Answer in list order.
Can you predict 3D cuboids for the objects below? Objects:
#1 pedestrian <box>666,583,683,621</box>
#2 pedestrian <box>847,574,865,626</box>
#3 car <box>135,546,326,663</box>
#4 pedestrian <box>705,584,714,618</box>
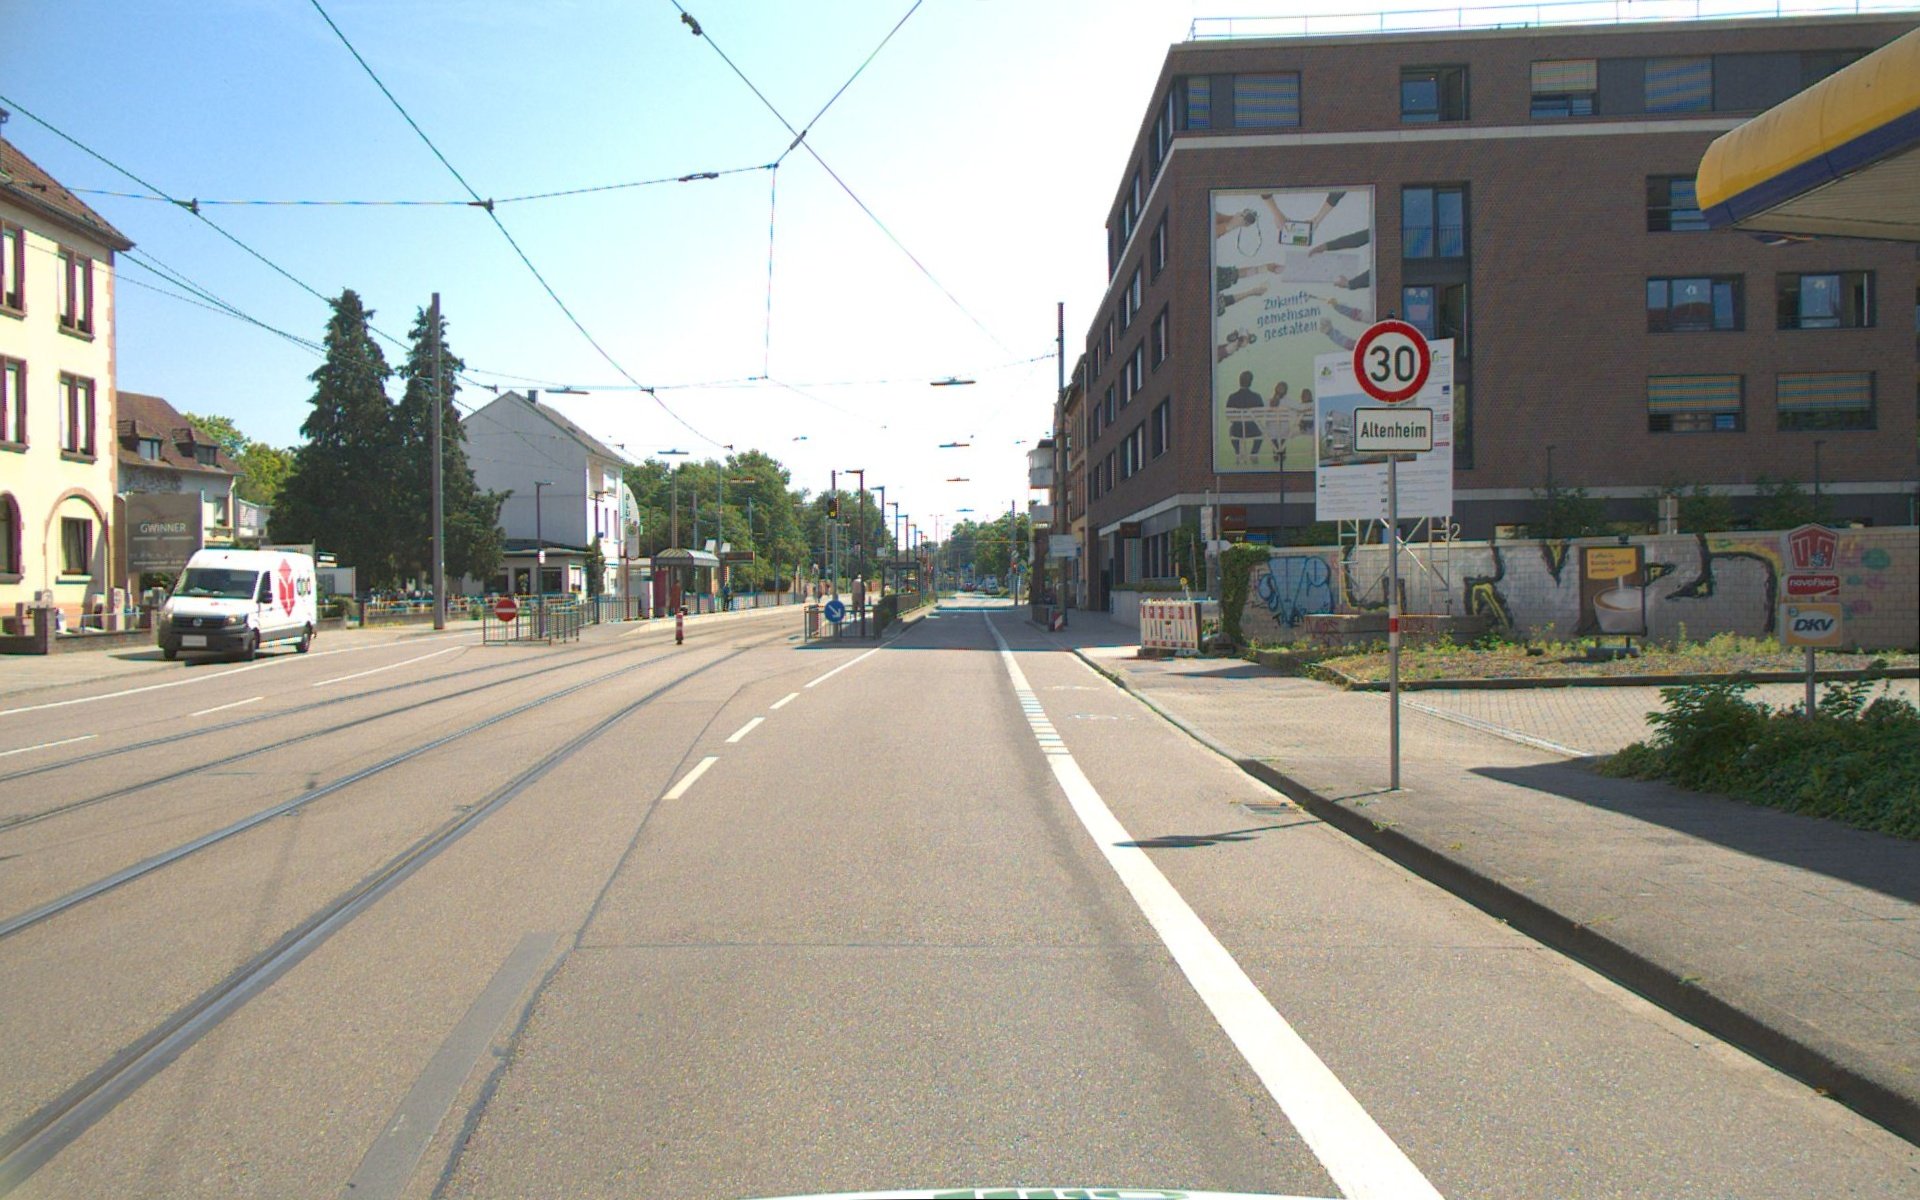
[{"bbox_3d":[-12.857,0.092,74.412,0.692,1.719,0.416,-1,0,-8],"label":"pedestrian"},{"bbox_3d":[-3.624,-0.019,57.724,0.545,1.790,0.792,-1,1,-6],"label":"pedestrian"},{"bbox_3d":[-17.682,0.085,40.530,2.284,2.580,6.499,1,0,-6],"label":"car"},{"bbox_3d":[-12.911,0.037,85.305,0.408,1.719,0.705,-1,0,-13],"label":"pedestrian"}]
